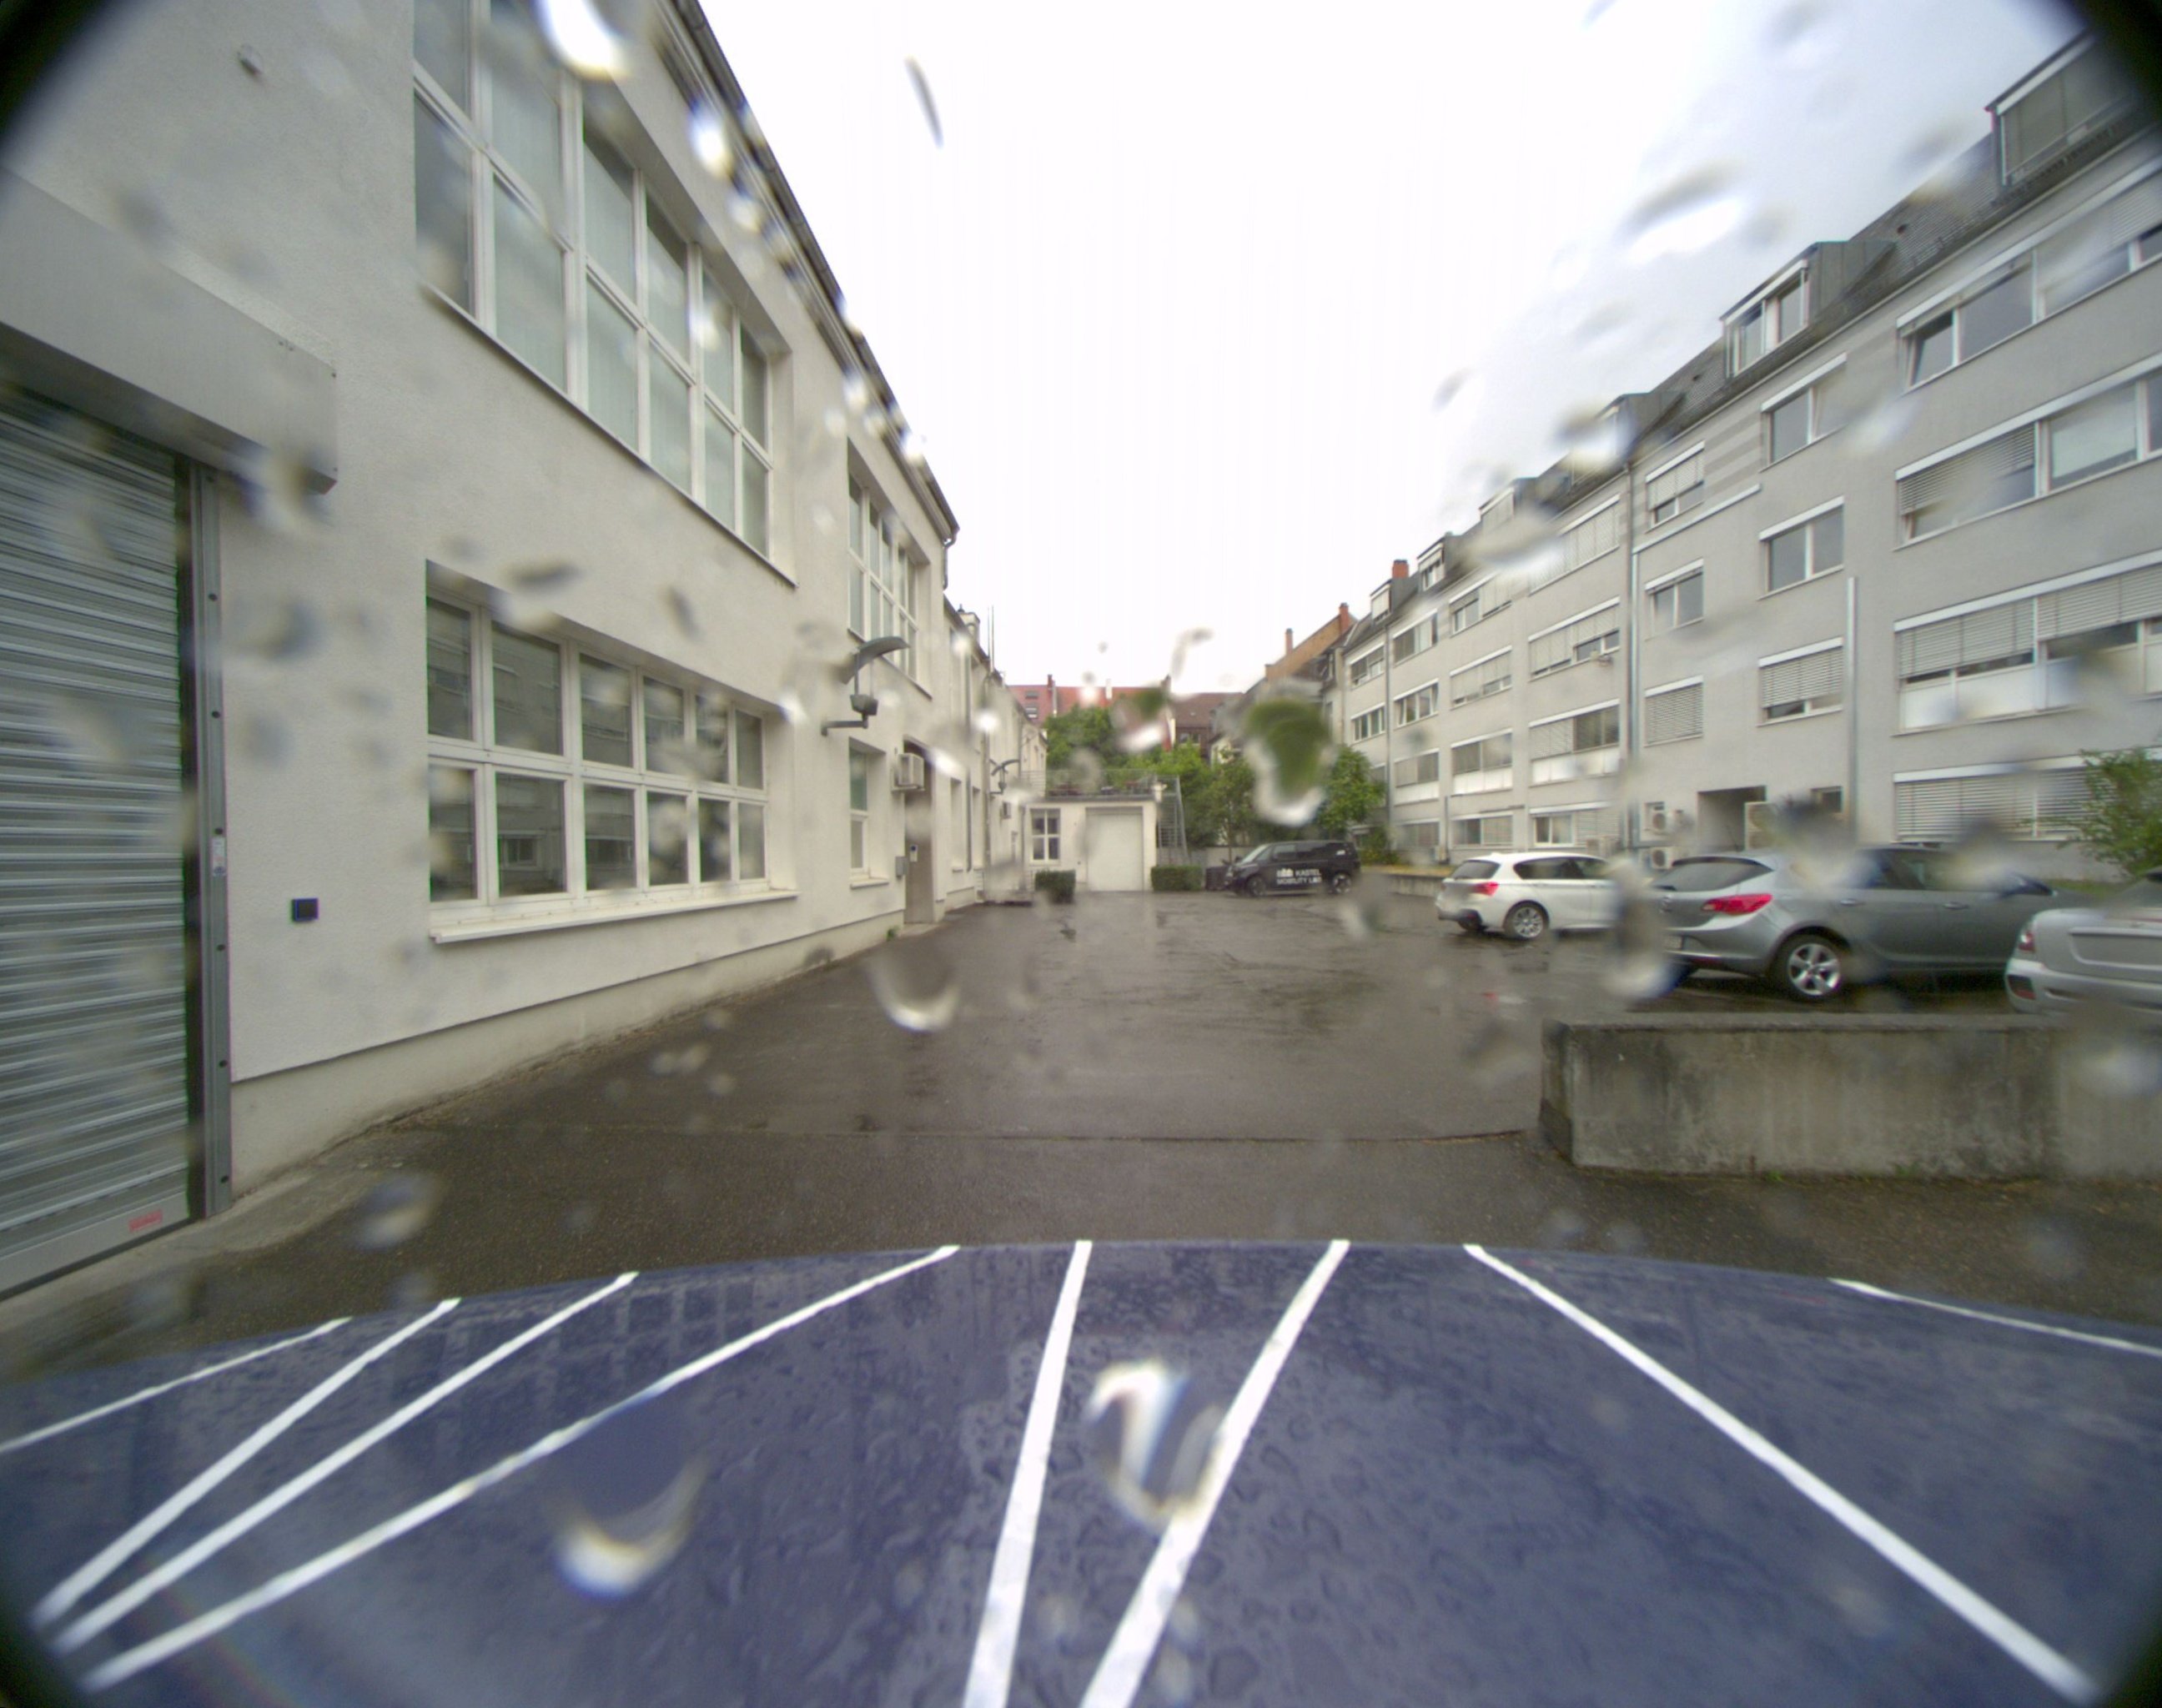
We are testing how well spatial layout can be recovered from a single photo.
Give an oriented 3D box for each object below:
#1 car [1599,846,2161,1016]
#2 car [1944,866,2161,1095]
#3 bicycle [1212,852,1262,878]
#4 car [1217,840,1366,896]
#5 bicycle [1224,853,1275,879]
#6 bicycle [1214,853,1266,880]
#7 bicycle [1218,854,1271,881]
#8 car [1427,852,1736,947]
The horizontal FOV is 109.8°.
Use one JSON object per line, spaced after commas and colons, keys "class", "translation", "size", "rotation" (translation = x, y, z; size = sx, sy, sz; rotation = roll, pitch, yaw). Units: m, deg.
{"class": "car", "translation": [8.053, 0.704, 7.843], "size": [4.176, 1.475, 1.822], "rotation": [-1, 0, -1]}
{"class": "car", "translation": [8.777, 0.724, 4.954], "size": [4.176, 1.325, 1.822], "rotation": [-3, 0, 0]}
{"class": "bicycle", "translation": [7.653, 0.541, 37.322], "size": [2.318, 1.180, 0.643], "rotation": [-1, 3, 4]}
{"class": "car", "translation": [7.359, 0.485, 26.872], "size": [4.629, 1.826, 1.988], "rotation": [-1, -1, -4]}
{"class": "bicycle", "translation": [8.138, 0.556, 36.789], "size": [2.318, 1.180, 0.643], "rotation": [-1, 3, 4]}
{"class": "bicycle", "translation": [7.548, 0.597, 36.159], "size": [2.318, 1.180, 0.643], "rotation": [-1, 3, 4]}
{"class": "bicycle", "translation": [7.582, 0.632, 35.358], "size": [2.318, 1.180, 0.643], "rotation": [-1, 3, 4]}
{"class": "car", "translation": [8.391, 0.723, 12.987], "size": [4.150, 1.425, 1.753], "rotation": [-1, 1, -1]}
